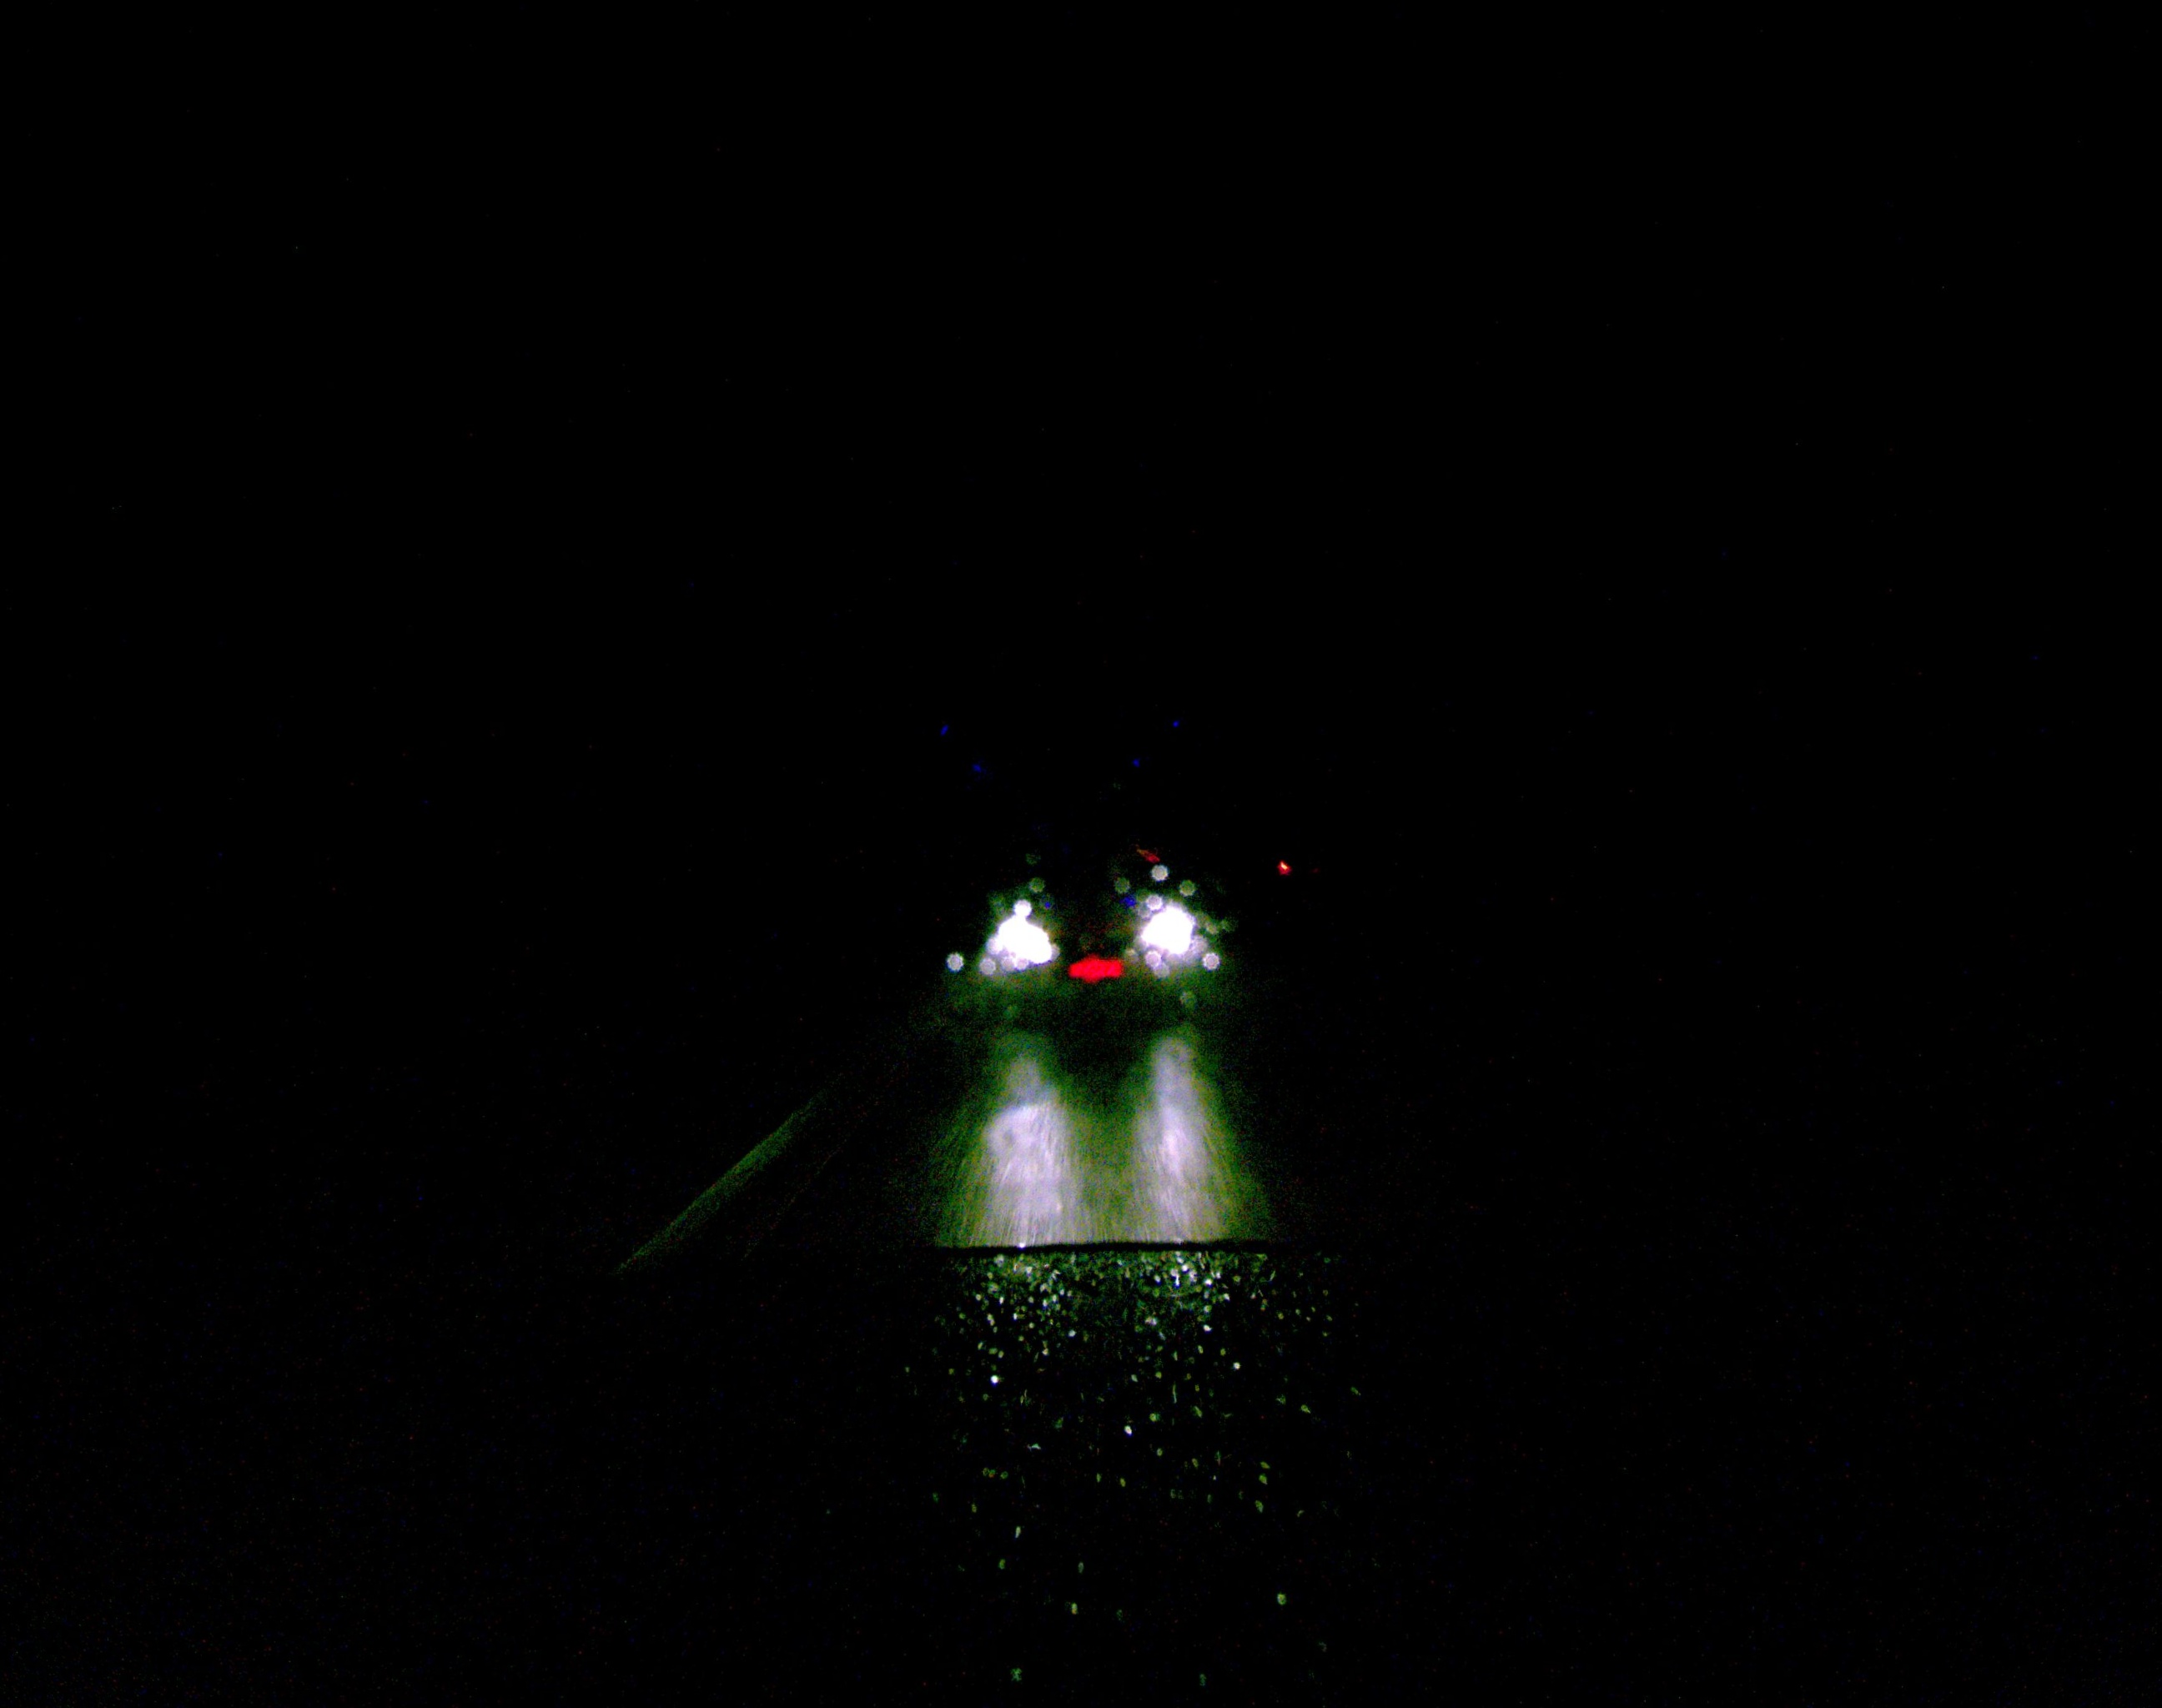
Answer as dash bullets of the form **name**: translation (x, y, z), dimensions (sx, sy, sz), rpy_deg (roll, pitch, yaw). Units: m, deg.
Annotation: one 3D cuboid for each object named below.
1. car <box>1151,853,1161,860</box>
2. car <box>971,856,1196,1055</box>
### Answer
- **car**: translation (16.621, 0.608, 169.124), dimensions (1.867, 1.535, 4.230), rpy_deg (-2, -1, 2)
- **car**: translation (0.118, 0.885, 8.754), dimensions (1.862, 1.601, 4.420), rpy_deg (-3, 0, 3)
